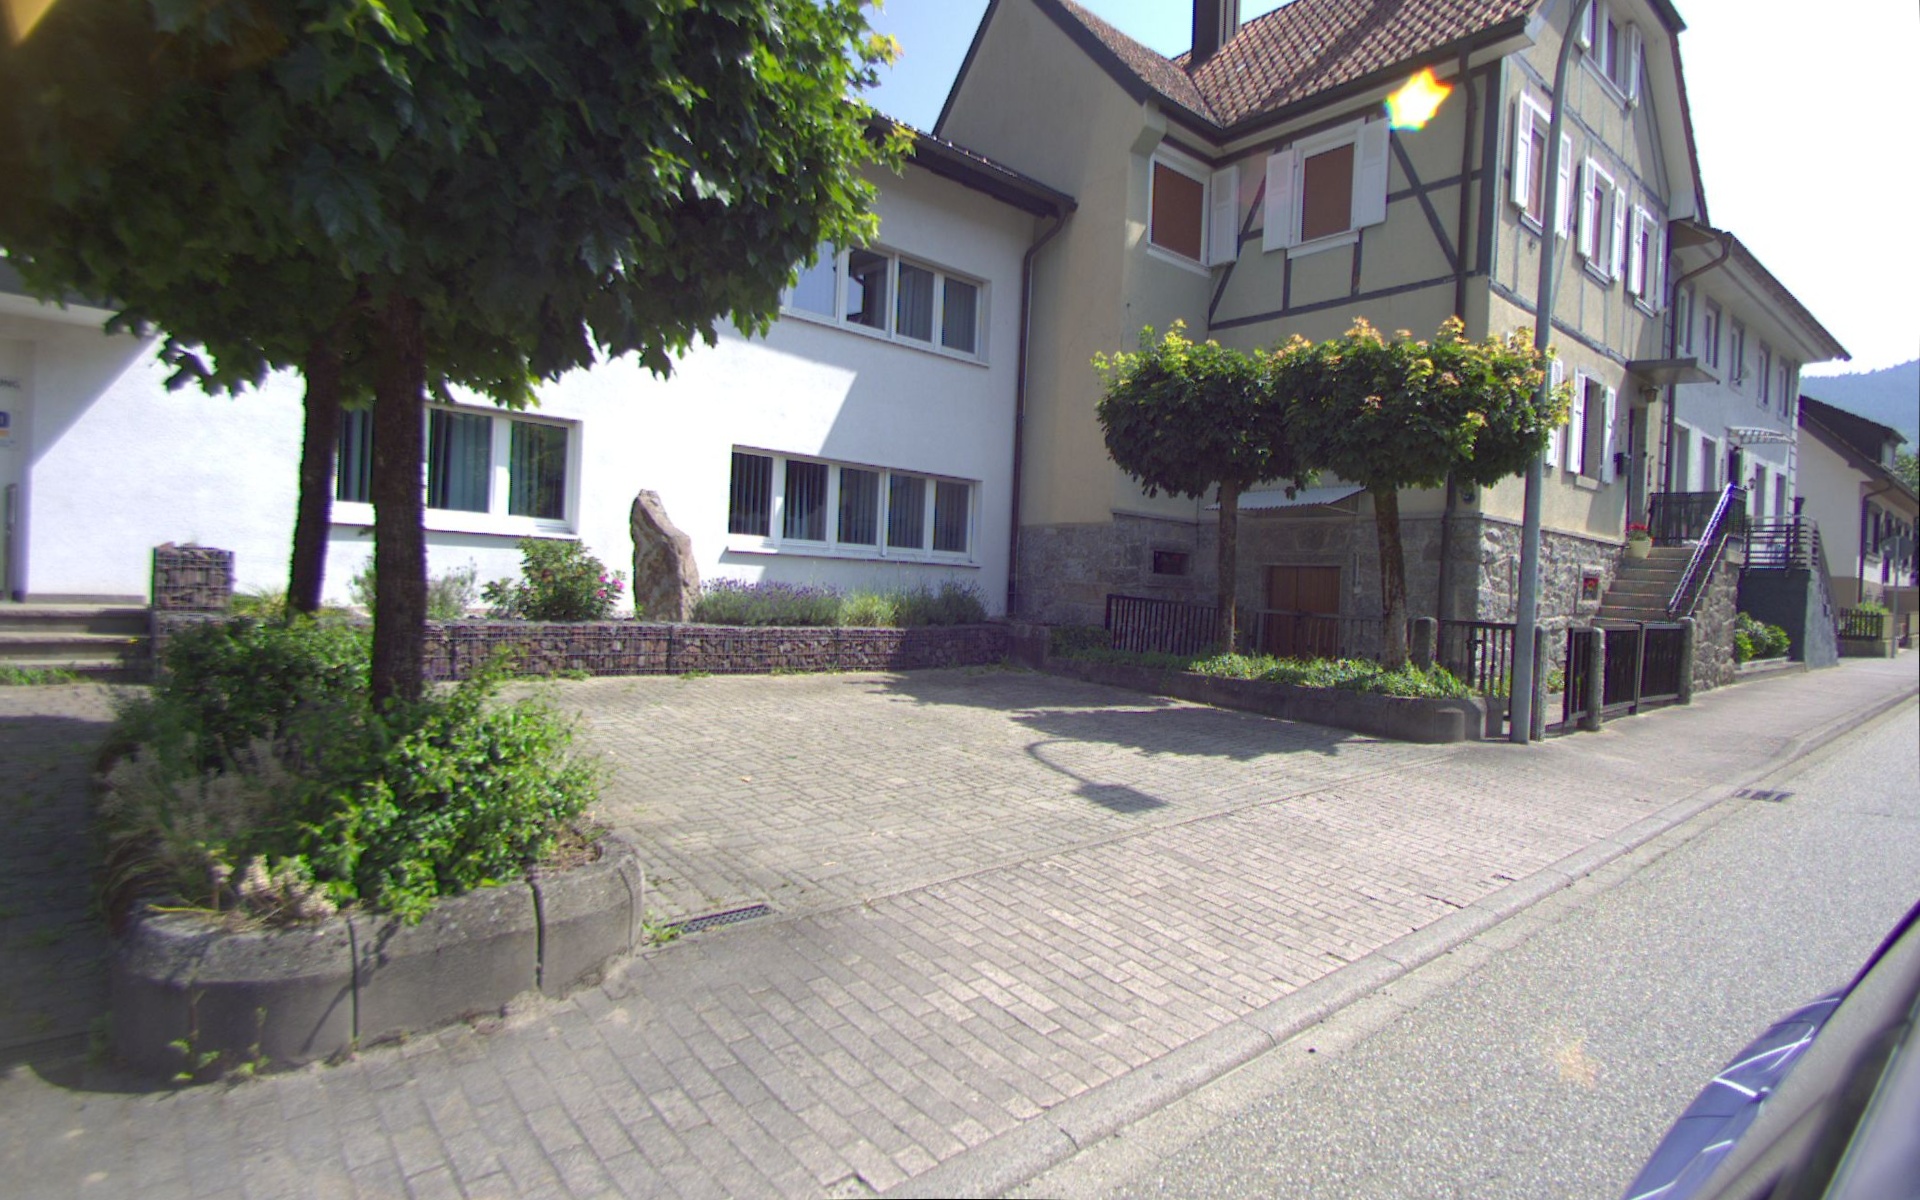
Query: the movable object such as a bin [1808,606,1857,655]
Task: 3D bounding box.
[{"bbox_3d":[19.350,0.666,22.454,0.607,1.033,0.706,0,2,-40],"label":"movable object such as a bin"}]
